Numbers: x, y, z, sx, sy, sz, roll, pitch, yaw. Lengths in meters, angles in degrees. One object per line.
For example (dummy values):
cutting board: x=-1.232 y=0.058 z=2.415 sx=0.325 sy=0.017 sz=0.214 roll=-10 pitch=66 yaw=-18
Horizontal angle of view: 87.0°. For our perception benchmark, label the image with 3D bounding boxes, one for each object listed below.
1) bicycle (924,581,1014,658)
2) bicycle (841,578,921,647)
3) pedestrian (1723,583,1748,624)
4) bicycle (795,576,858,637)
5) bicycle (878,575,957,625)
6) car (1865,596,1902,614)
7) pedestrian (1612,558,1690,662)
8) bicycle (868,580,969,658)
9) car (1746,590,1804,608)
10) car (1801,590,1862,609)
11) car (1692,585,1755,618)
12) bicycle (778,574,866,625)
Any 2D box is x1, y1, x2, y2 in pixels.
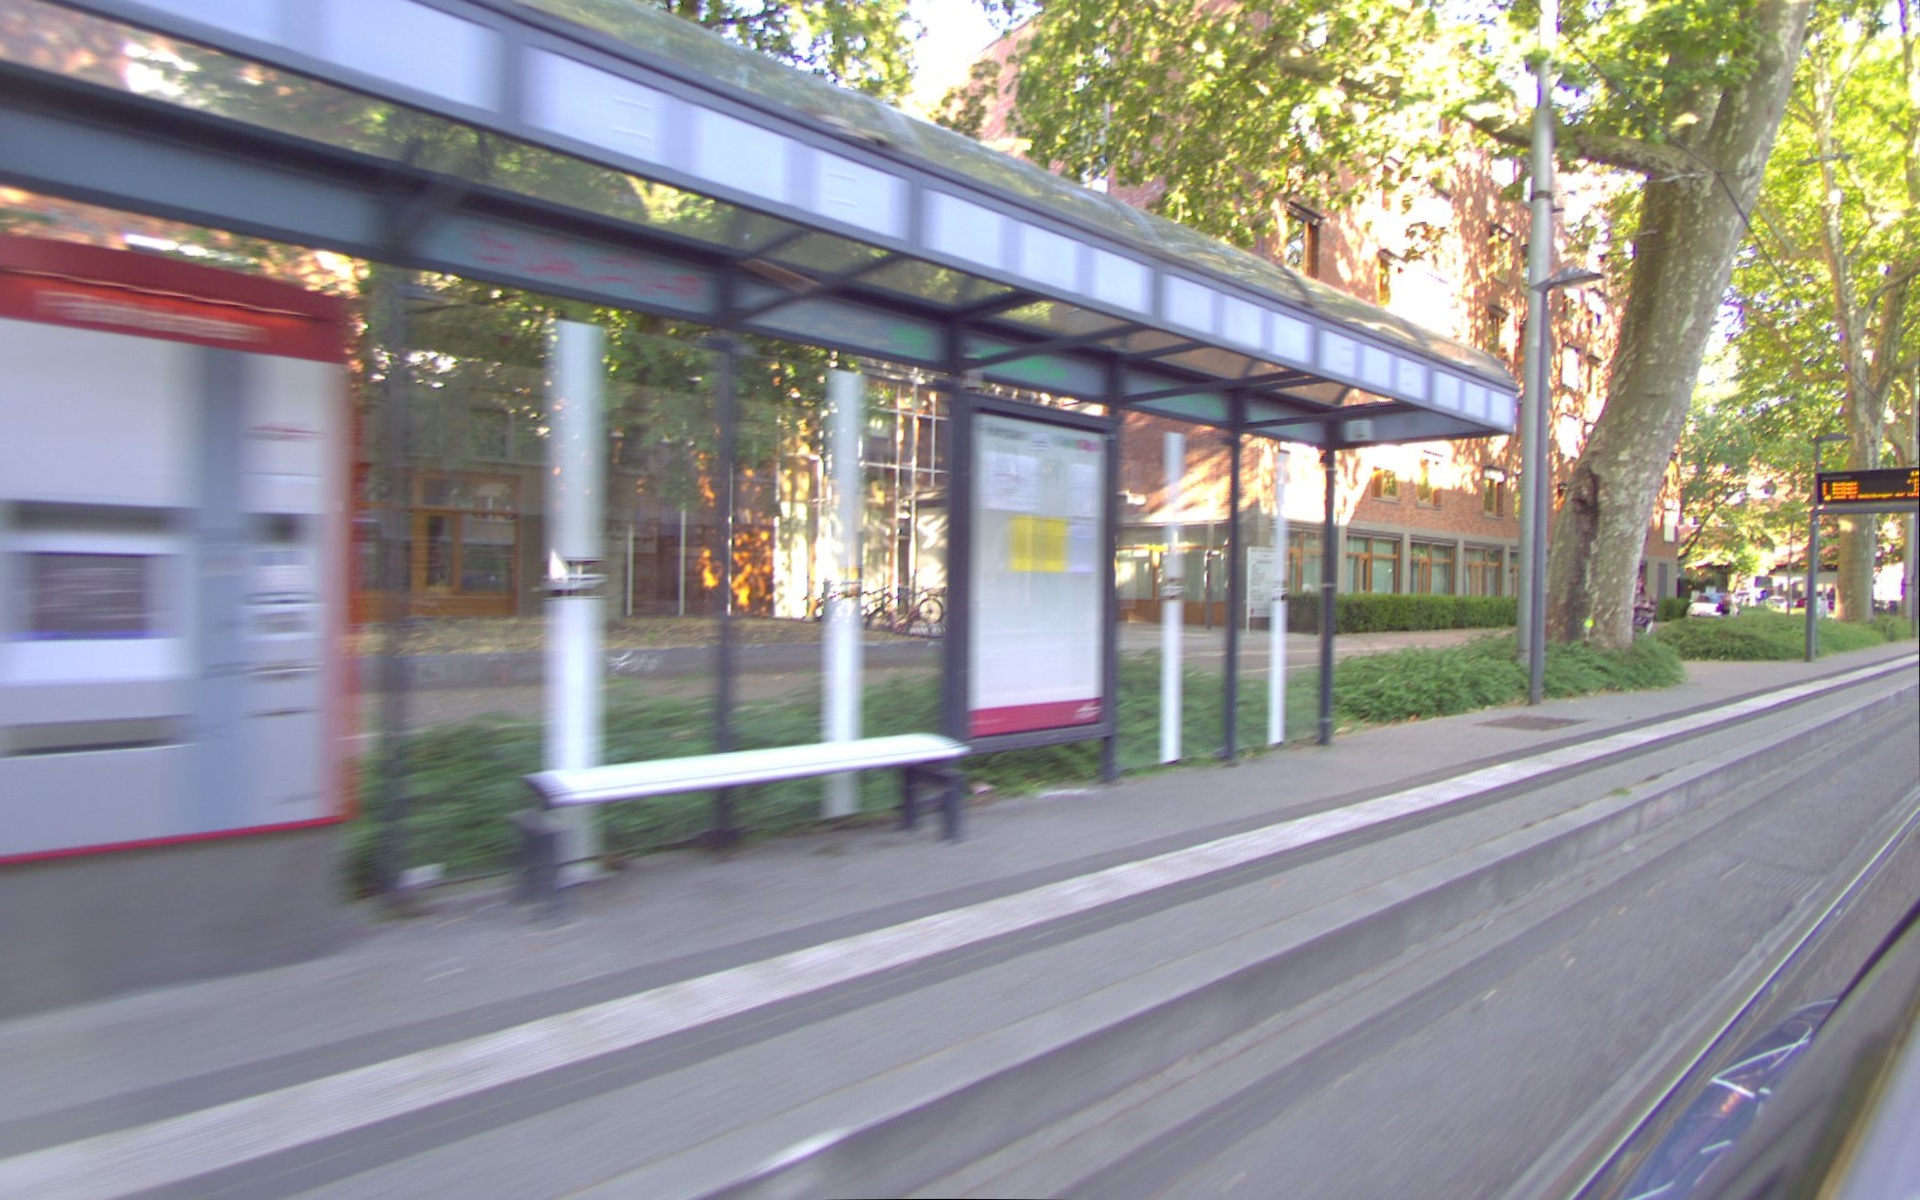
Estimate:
bicycle: x=0.127 y=0.300 z=17.517 sx=0.560 sy=1.171 sz=2.041 roll=1 pitch=3 yaw=-30
bicycle: x=-1.547 y=0.206 z=19.412 sx=0.561 sy=1.171 sz=2.039 roll=0 pitch=3 yaw=-35
pedestrian: x=33.317 y=0.146 z=43.470 sx=0.736 sy=1.712 sz=0.710 roll=0 pitch=1 yaw=-42
bicycle: x=-2.774 y=0.113 z=20.951 sx=0.561 sy=1.171 sz=1.684 roll=0 pitch=3 yaw=-35
bicycle: x=-1.120 y=-0.018 z=26.399 sx=1.930 sy=1.171 sz=0.727 roll=3 pitch=2 yaw=24
car: x=86.932 y=0.460 z=95.227 sx=3.610 sy=1.549 sz=1.999 roll=0 pitch=1 yaw=-38
pedestrian: x=11.625 y=0.148 z=17.056 sx=0.757 sy=1.680 sz=0.914 roll=1 pitch=1 yaw=12
bicycle: x=-0.735 y=0.295 z=17.203 sx=0.562 sy=1.171 sz=2.036 roll=0 pitch=3 yaw=-40
car: x=72.326 y=-0.097 z=89.877 sx=1.964 sy=1.549 sz=3.674 roll=0 pitch=2 yaw=-39
car: x=74.809 y=-0.069 z=86.863 sx=1.964 sy=1.549 sz=3.674 roll=0 pitch=2 yaw=-39
car: x=37.387 y=0.065 z=49.500 sx=3.892 sy=1.527 sz=1.657 roll=0 pitch=2 yaw=-41
bicycle: x=-3.359 y=-0.008 z=24.695 sx=1.997 sy=1.171 sz=0.709 roll=0 pitch=2 yaw=-31
